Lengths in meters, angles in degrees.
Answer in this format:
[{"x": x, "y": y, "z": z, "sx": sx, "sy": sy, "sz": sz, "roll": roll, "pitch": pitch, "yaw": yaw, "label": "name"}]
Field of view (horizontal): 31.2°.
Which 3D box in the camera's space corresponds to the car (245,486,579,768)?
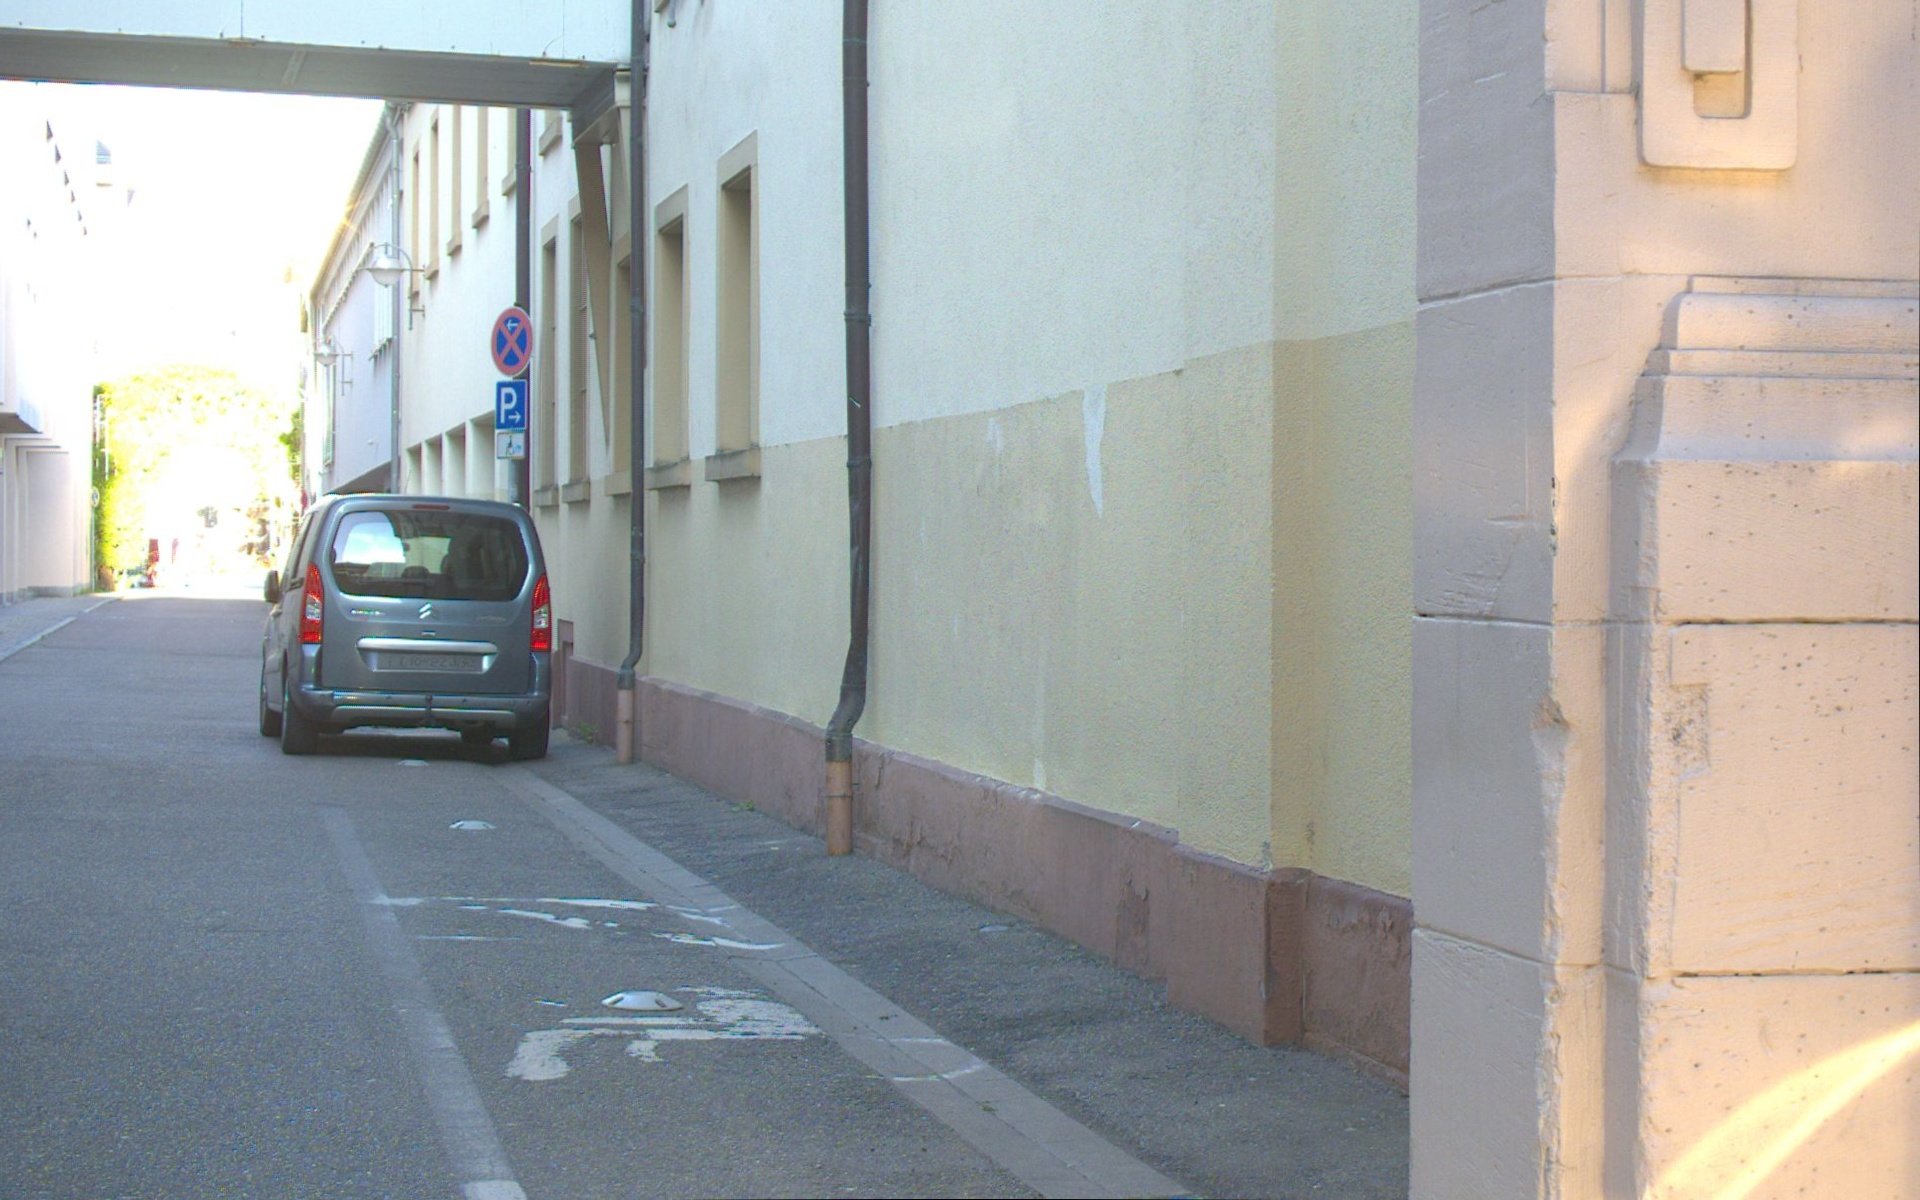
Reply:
[{"x": -4.011, "y": 0.154, "z": 24.643, "sx": 1.854, "sy": 1.750, "sz": 4.163, "roll": 4, "pitch": 0, "yaw": -15, "label": "car"}]
